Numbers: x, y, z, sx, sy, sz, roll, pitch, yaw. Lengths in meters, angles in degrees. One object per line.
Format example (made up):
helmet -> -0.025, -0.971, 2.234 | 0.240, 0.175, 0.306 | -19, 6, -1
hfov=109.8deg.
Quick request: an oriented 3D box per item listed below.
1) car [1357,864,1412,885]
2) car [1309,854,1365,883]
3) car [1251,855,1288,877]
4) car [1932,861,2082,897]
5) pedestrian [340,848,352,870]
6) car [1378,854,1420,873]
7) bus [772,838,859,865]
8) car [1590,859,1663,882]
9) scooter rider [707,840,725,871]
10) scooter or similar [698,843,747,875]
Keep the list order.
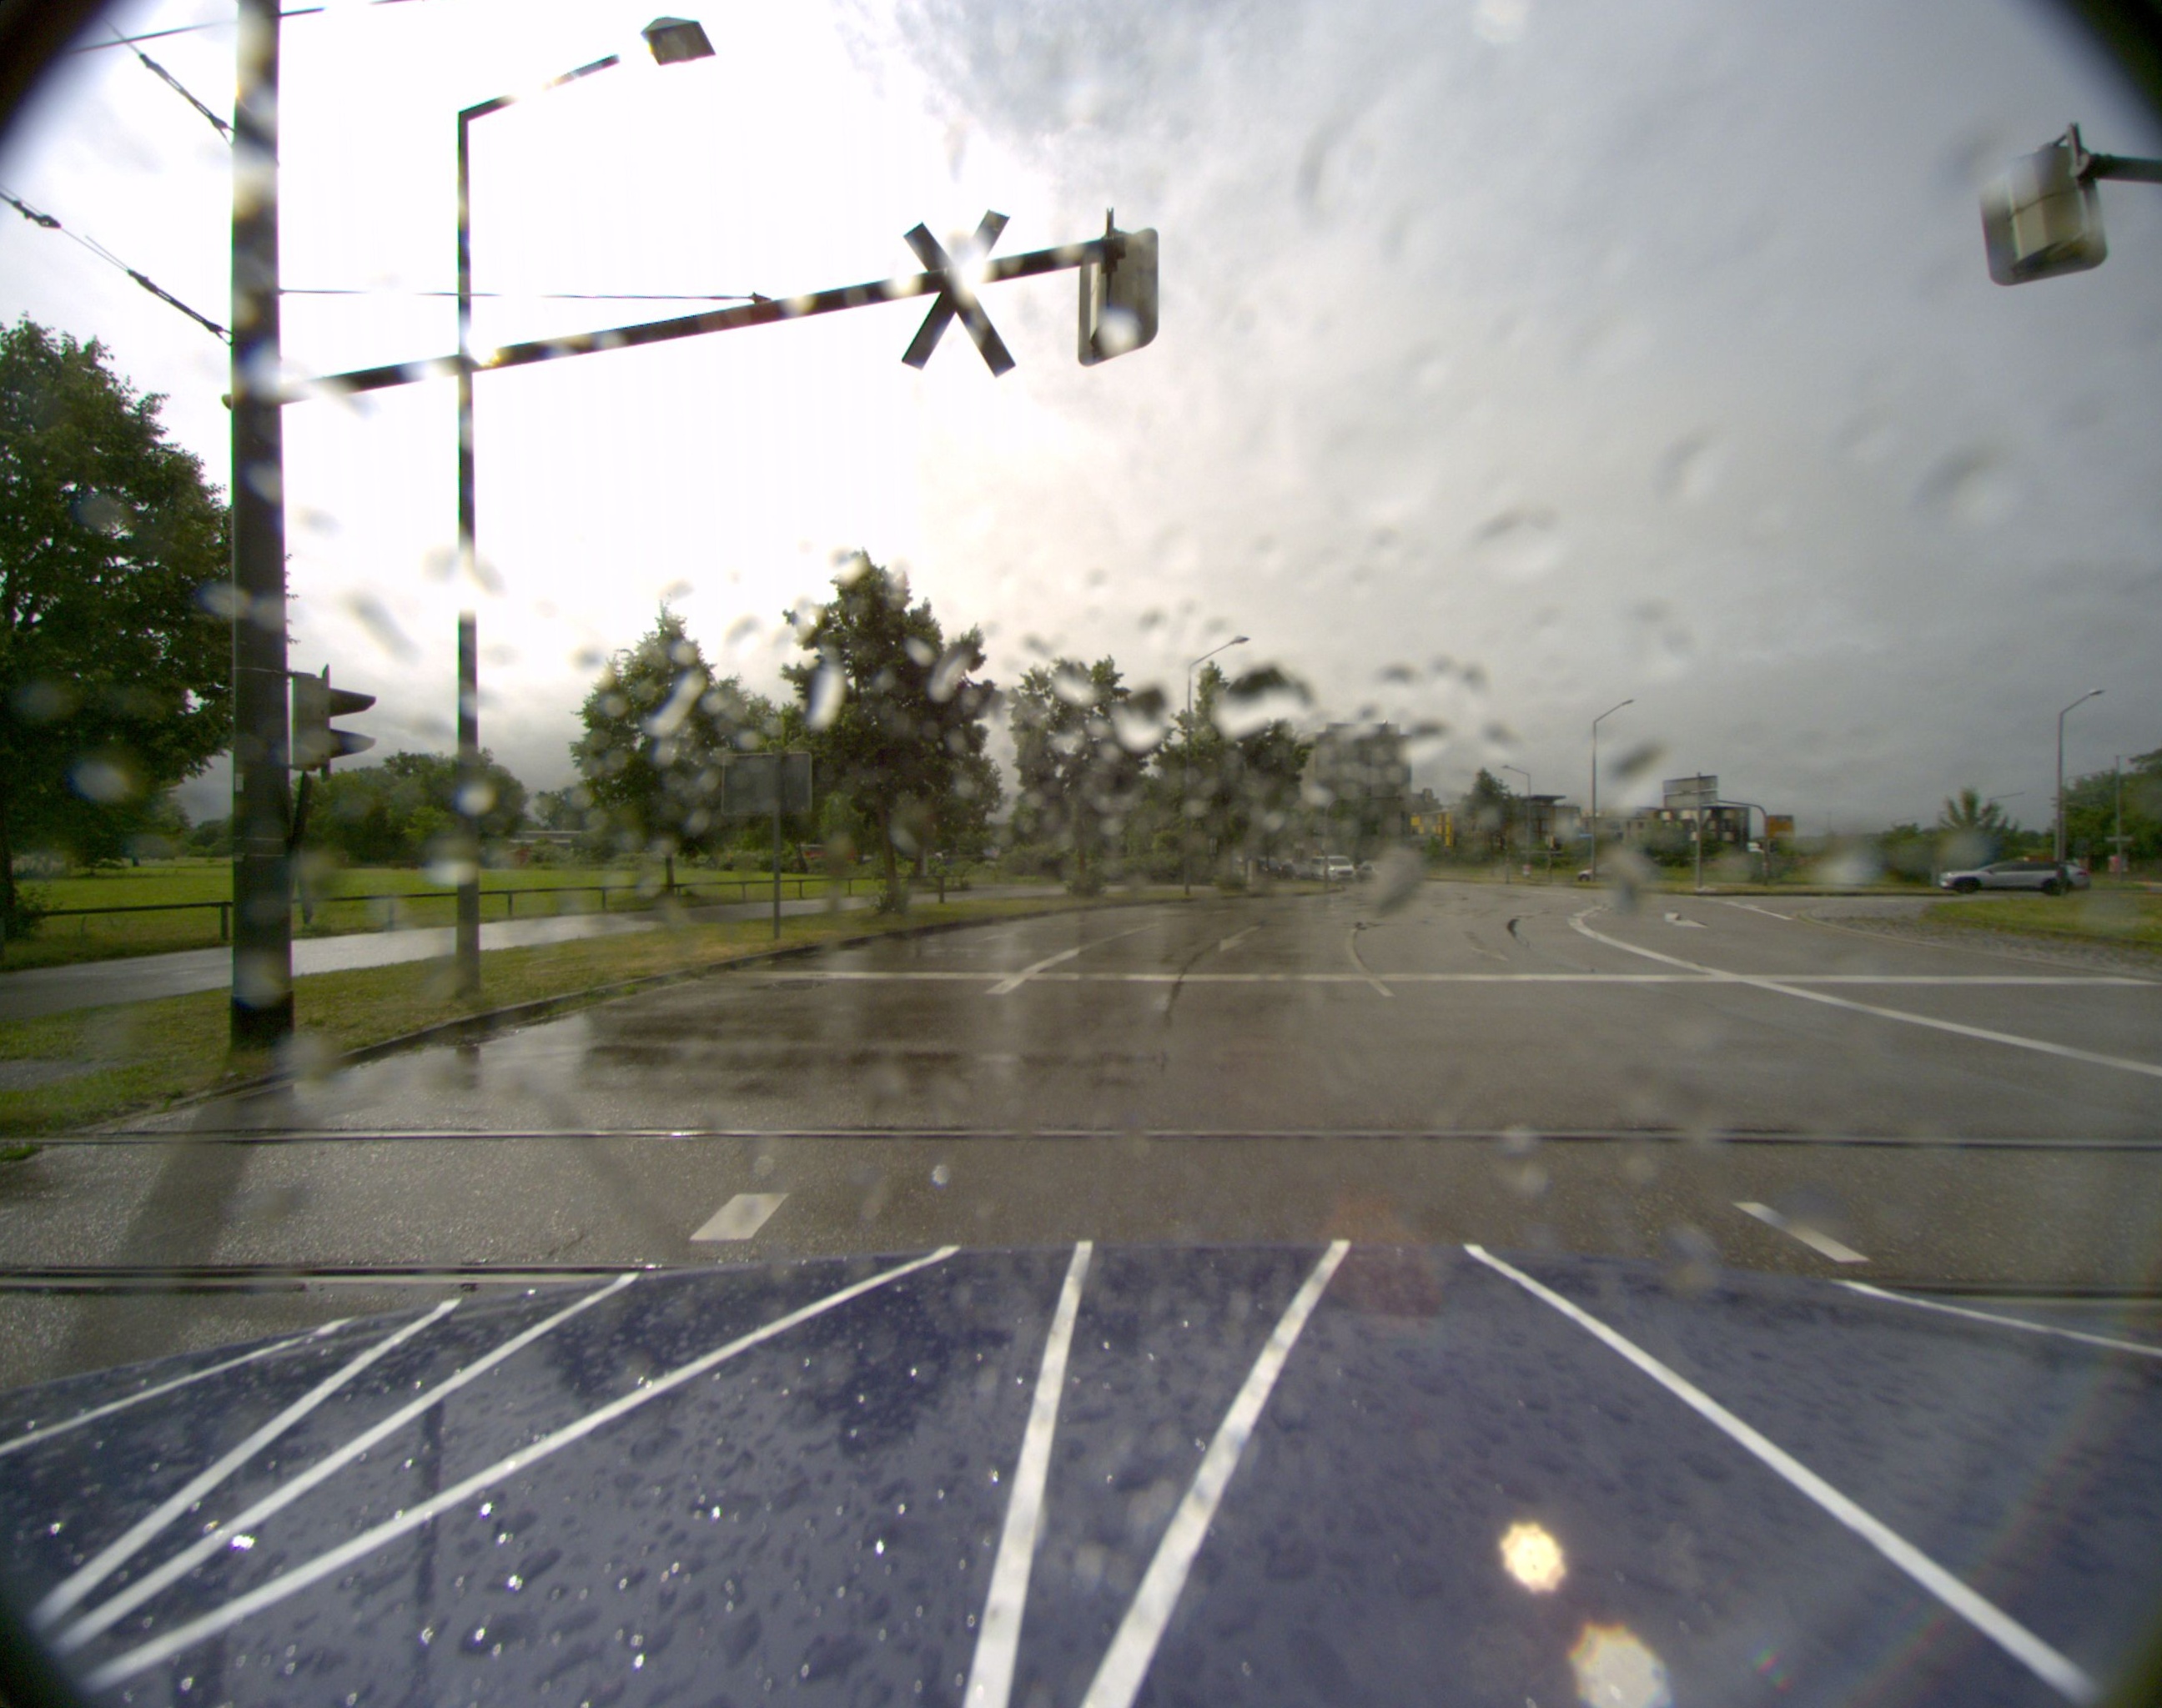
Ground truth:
car -> 22.004, 1.475, 55.294 | 1.867, 1.372, 4.549 | -2, 0, -5
car -> 18.737, 1.042, 55.833 | 2.078, 1.975, 4.798 | 1, -1, -5
car -> 17.552, 1.113, 70.989 | 2.077, 1.975, 4.799 | 1, -1, -3
car -> 44.509, 1.184, 36.711 | 1.880, 1.653, 4.470 | 0, -1, -44
pedestrian -> -57.541, 0.377, 59.492 | 0.607, 1.721, 0.598 | -1, -1, -43
car -> 31.172, 0.930, 74.695 | 1.867, 1.752, 4.550 | 1, -1, -6
bus -> -35.896, -0.347, 103.165 | 10.990, 3.439, 1.998 | -1, -1, -14
car -> 34.348, 1.069, 47.959 | 1.734, 1.404, 4.129 | 0, -1, 2
scooter rider -> -24.070, 0.114, 50.077 | 0.768, 2.001, 0.707 | -2, -1, 30
scooter or similar -> -23.440, 0.347, 49.604 | 3.400, 2.001, 1.242 | -2, -1, 33
